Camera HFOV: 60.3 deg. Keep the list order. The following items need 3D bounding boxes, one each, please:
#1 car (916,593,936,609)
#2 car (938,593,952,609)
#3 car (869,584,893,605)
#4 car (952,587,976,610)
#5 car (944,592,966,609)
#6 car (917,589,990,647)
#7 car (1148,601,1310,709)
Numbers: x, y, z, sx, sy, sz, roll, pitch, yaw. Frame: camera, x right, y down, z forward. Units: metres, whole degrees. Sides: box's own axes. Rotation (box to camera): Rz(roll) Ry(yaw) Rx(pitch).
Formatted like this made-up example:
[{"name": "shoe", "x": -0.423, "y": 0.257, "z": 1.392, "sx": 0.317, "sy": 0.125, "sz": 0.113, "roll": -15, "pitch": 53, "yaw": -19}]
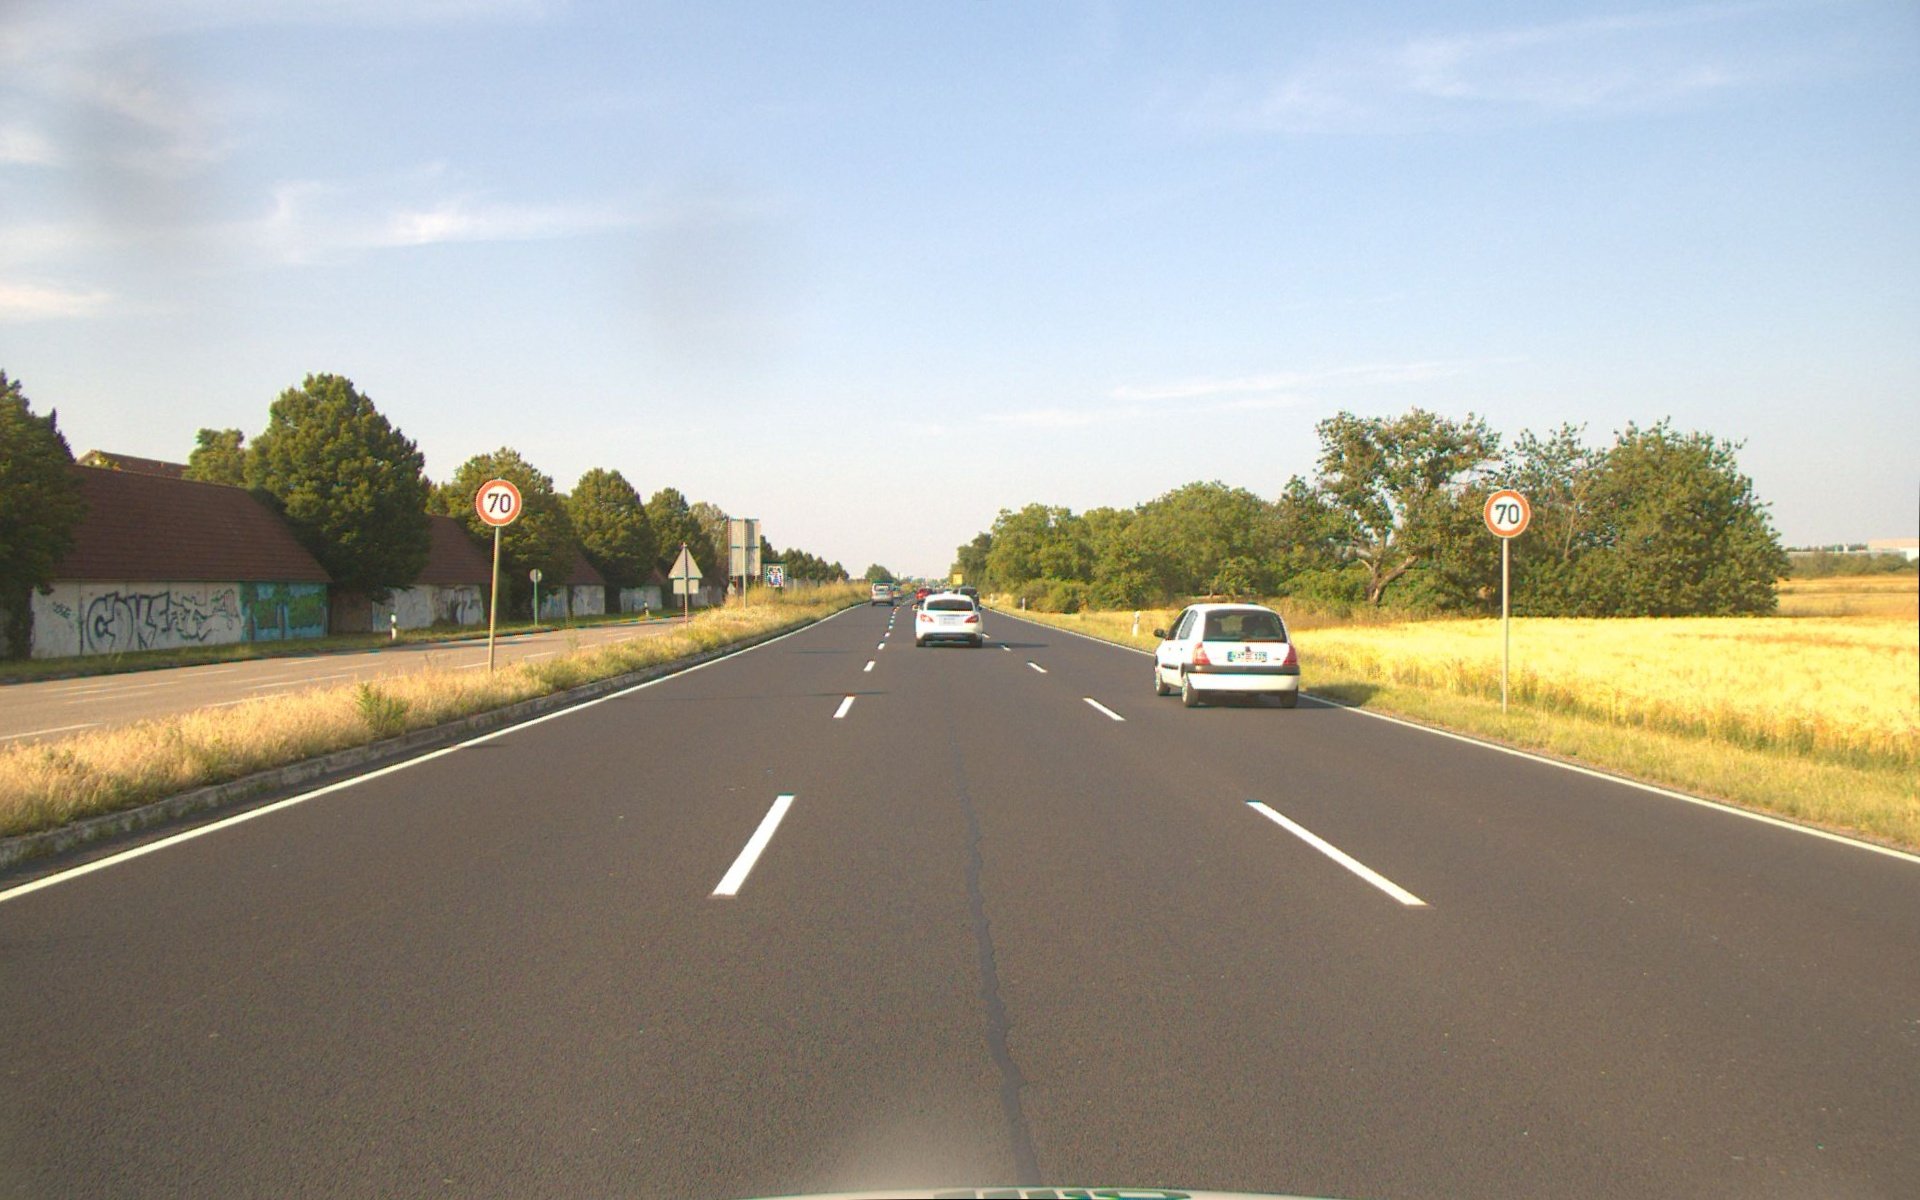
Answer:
[{"name": "car", "x": -3.158, "y": 0.096, "z": 151.775, "sx": 1.775, "sy": 1.461, "sz": 3.857, "roll": 1, "pitch": -1, "yaw": -2}, {"name": "car", "x": -1.885, "y": 0.088, "z": 208.664, "sx": 1.766, "sy": 1.937, "sz": 3.559, "roll": 1, "pitch": -1, "yaw": 0}, {"name": "car", "x": -6.621, "y": -0.445, "z": 139.368, "sx": 1.722, "sy": 1.646, "sz": 4.000, "roll": 1, "pitch": -1, "yaw": 1}, {"name": "car", "x": 0.296, "y": -0.115, "z": 129.518, "sx": 1.791, "sy": 1.758, "sz": 3.999, "roll": 1, "pitch": -1, "yaw": -1}, {"name": "car", "x": -0.539, "y": 0.091, "z": 164.791, "sx": 1.954, "sy": 1.613, "sz": 4.281, "roll": 1, "pitch": -1, "yaw": -4}, {"name": "car", "x": -0.201, "y": 0.501, "z": 46.684, "sx": 1.953, "sy": 1.543, "sz": 3.999, "roll": 1, "pitch": -1, "yaw": -1}, {"name": "car", "x": 3.785, "y": 0.740, "z": 23.849, "sx": 1.584, "sy": 1.411, "sz": 3.950, "roll": 1, "pitch": -1, "yaw": -2}]
